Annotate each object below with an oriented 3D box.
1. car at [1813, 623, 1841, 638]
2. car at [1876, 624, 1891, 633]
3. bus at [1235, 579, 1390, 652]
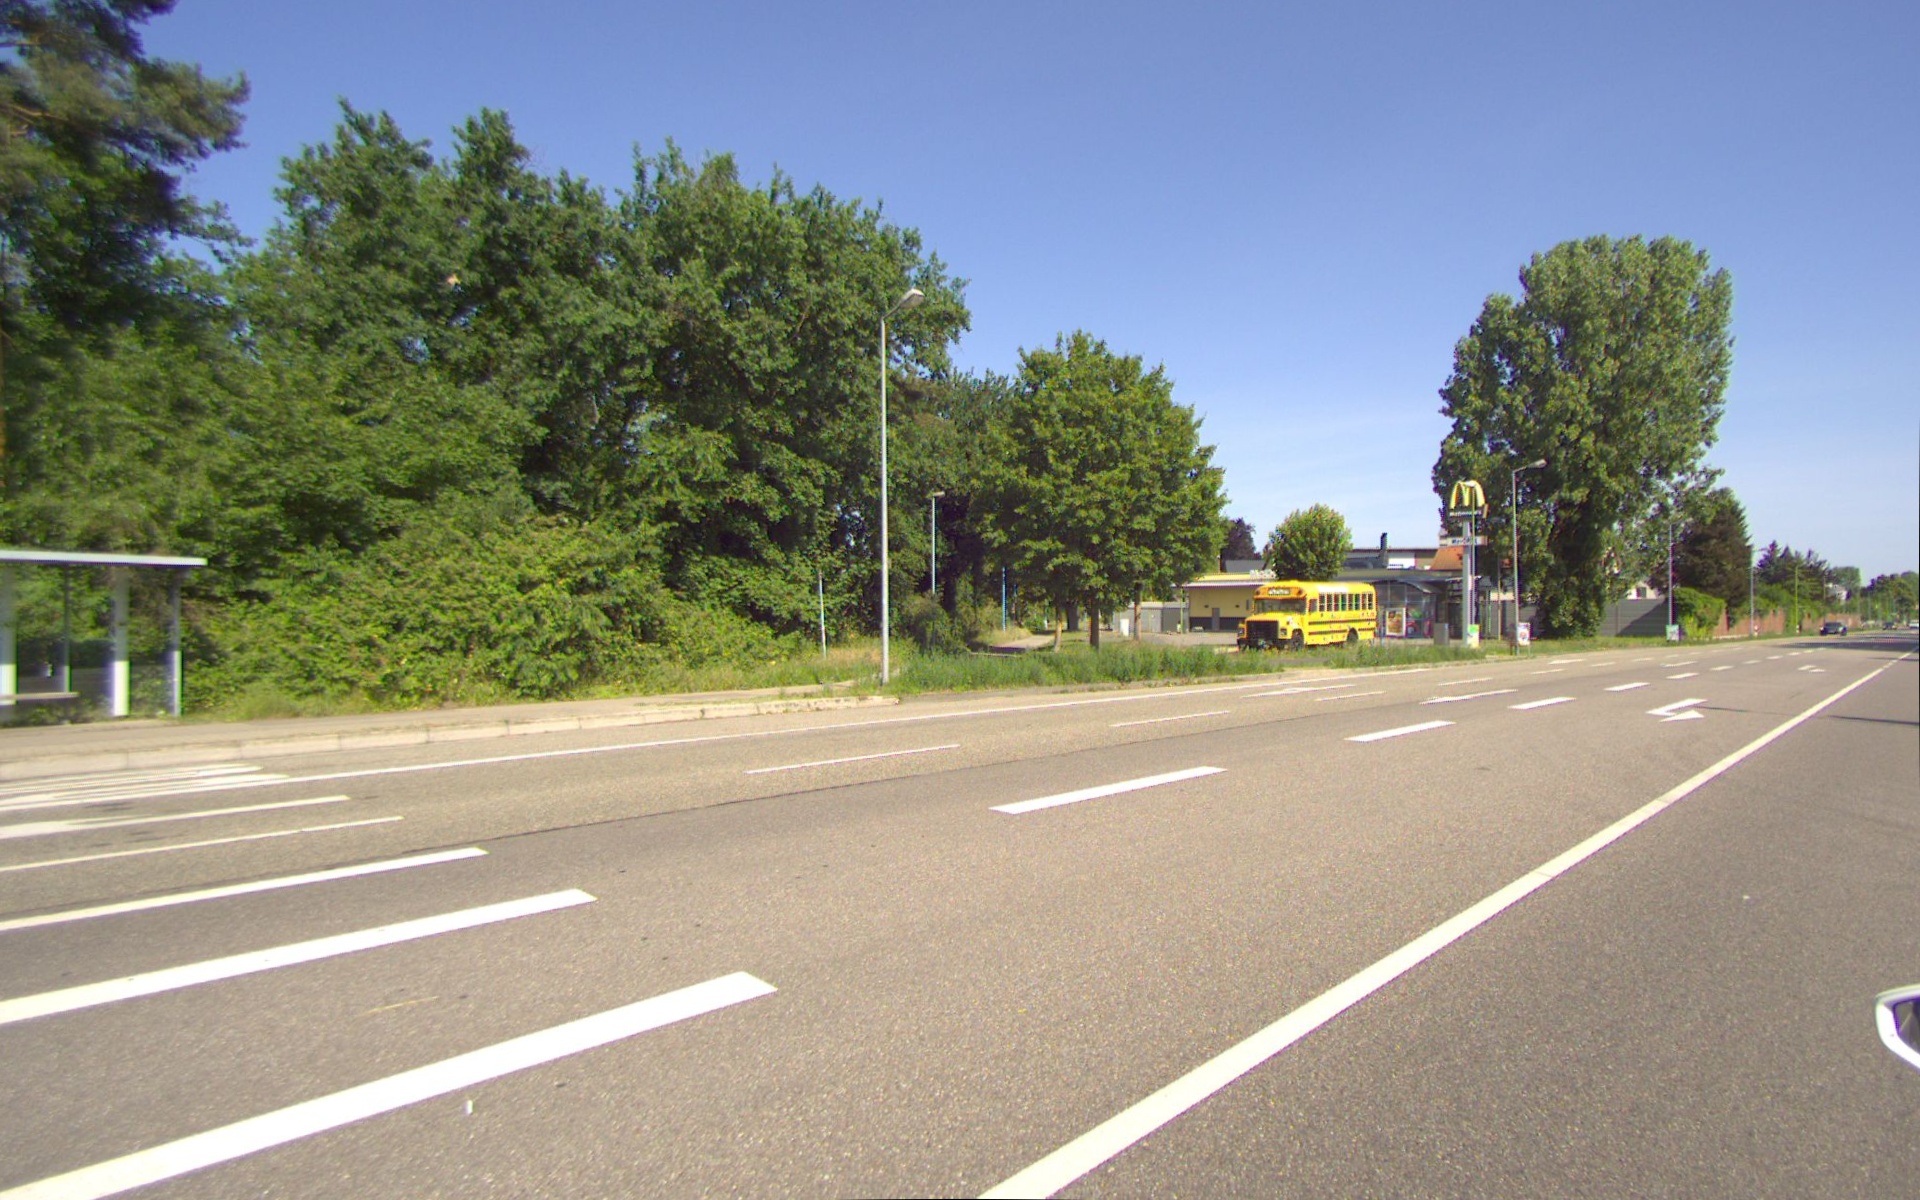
[{"bbox_3d":[92.221,3.236,106.865,4.879,1.515,1.829,2,-3,-45],"label":"car"},{"bbox_3d":[167.921,5.119,182.610,4.197,1.561,1.828,2,0,-45],"label":"car"},{"bbox_3d":[14.770,0.655,41.573,2.551,2.715,8.944,2,0,43],"label":"bus"}]
